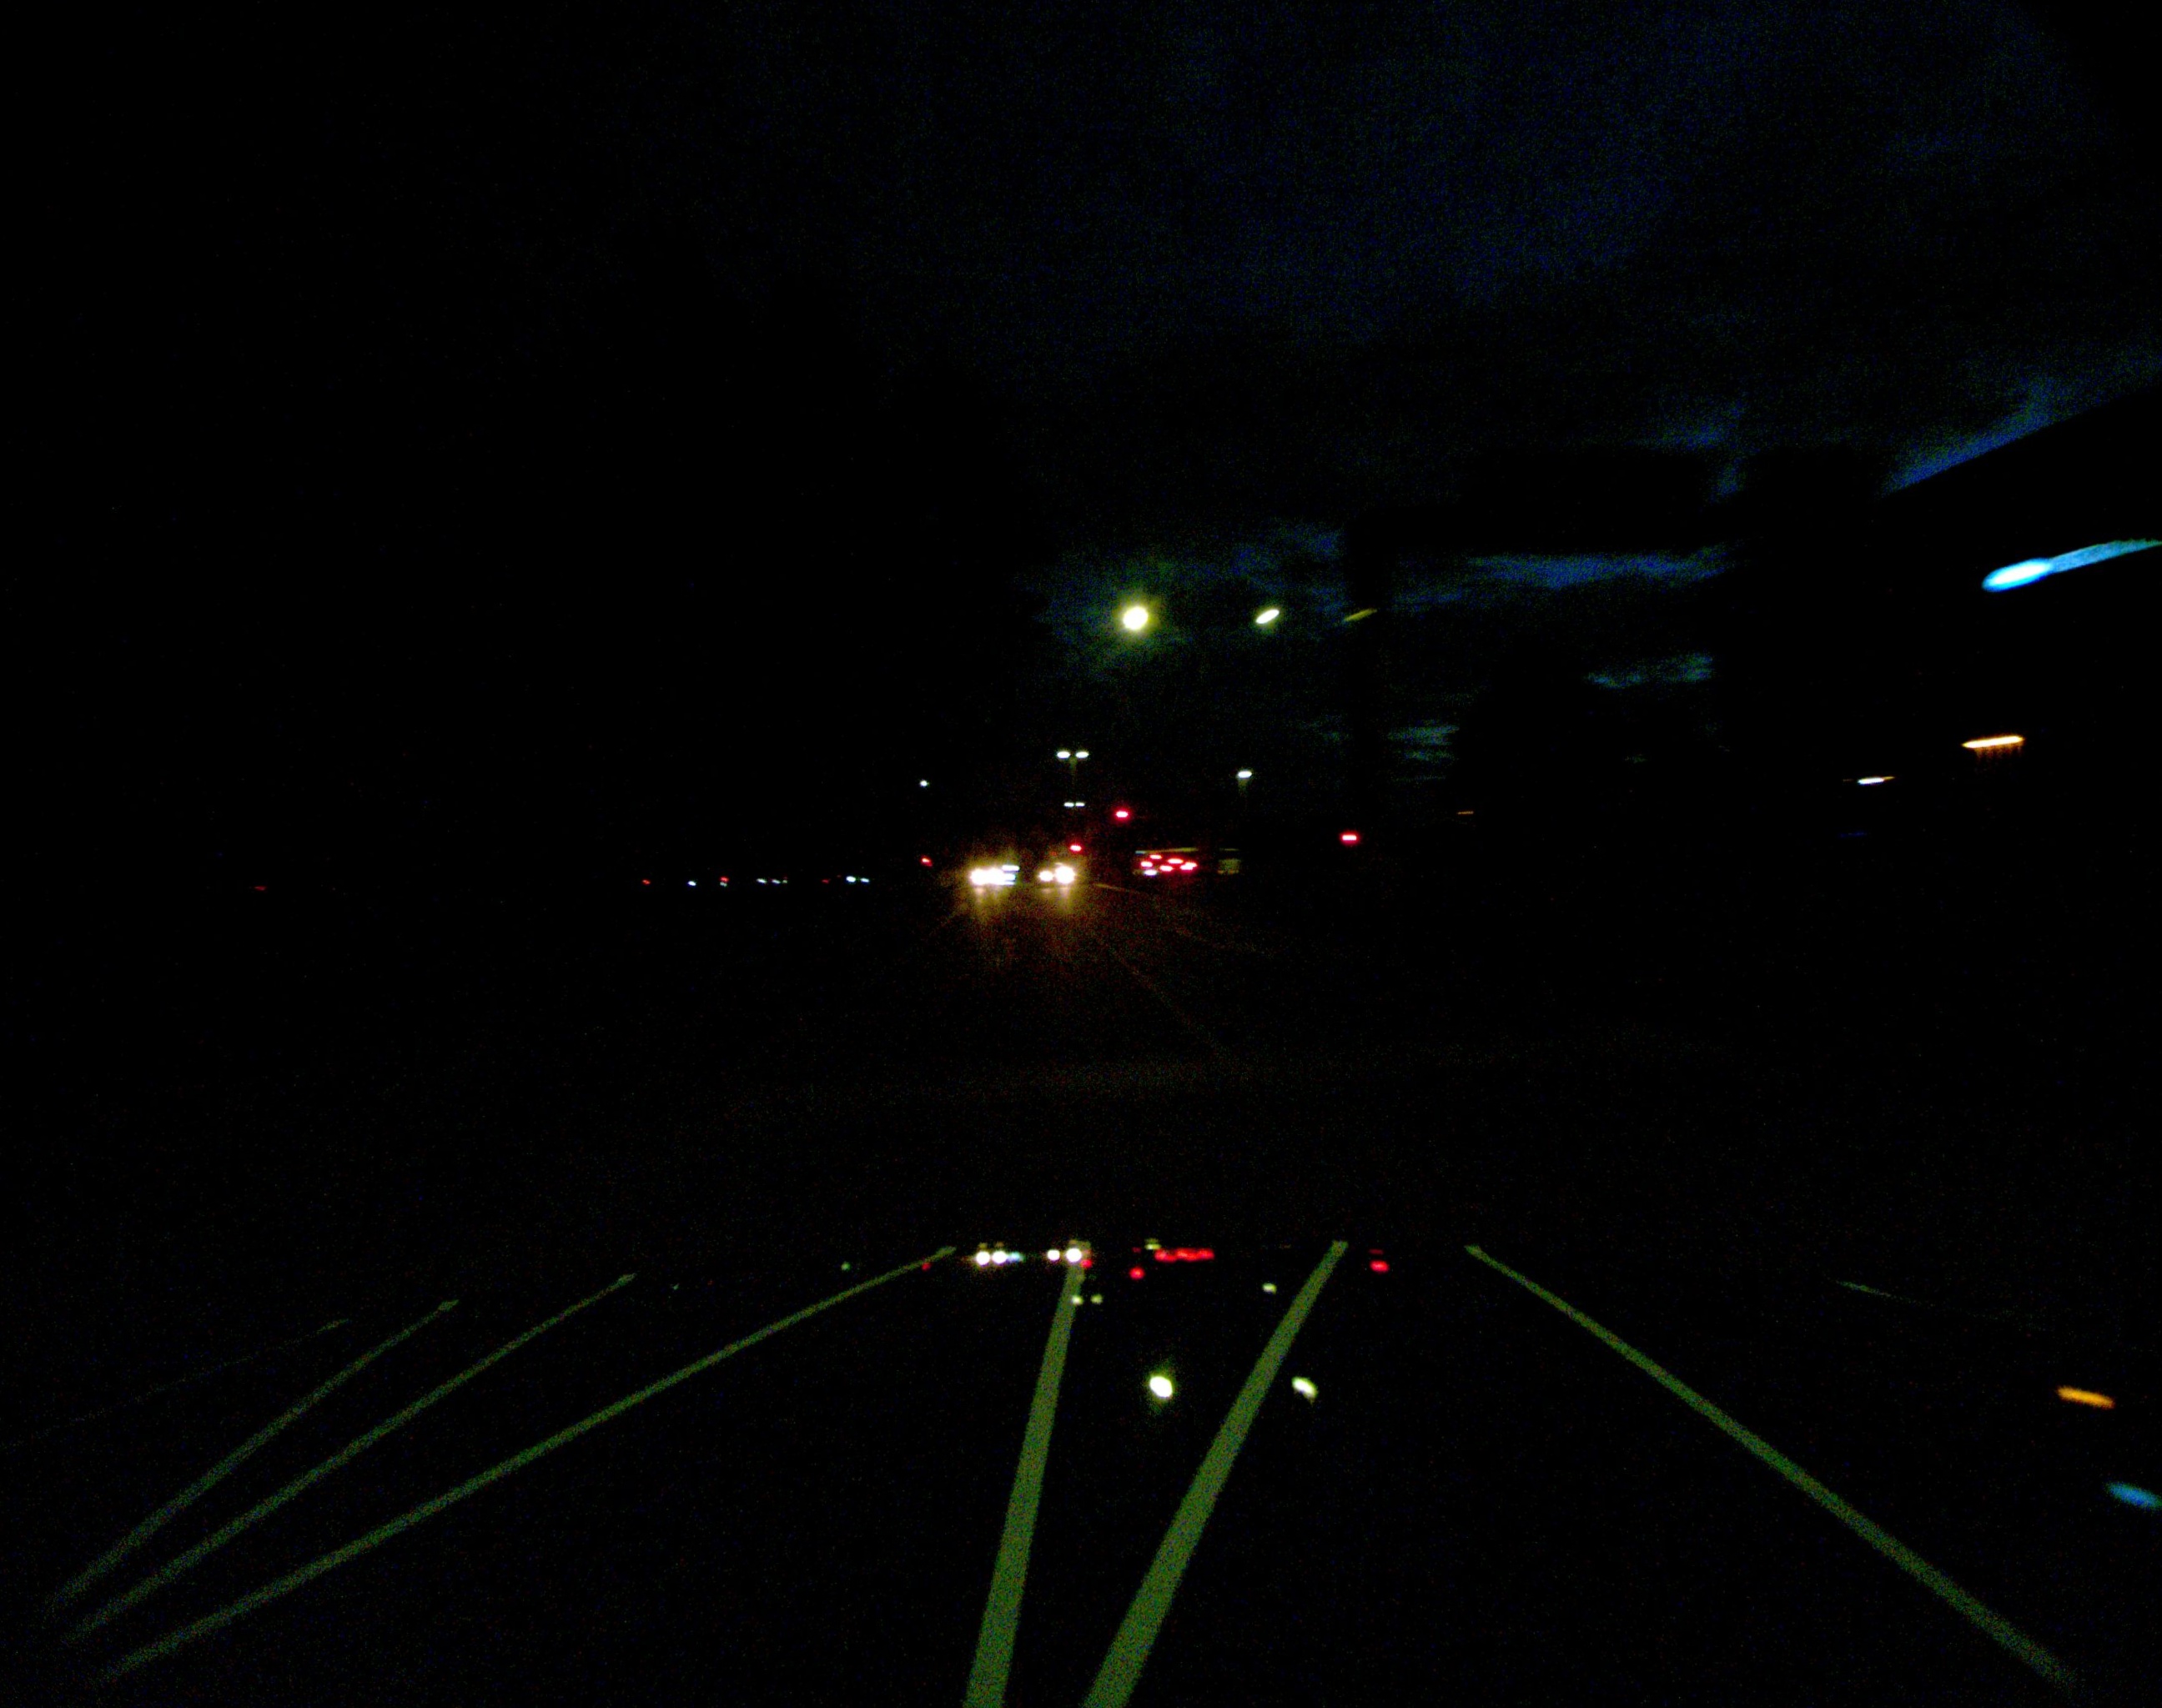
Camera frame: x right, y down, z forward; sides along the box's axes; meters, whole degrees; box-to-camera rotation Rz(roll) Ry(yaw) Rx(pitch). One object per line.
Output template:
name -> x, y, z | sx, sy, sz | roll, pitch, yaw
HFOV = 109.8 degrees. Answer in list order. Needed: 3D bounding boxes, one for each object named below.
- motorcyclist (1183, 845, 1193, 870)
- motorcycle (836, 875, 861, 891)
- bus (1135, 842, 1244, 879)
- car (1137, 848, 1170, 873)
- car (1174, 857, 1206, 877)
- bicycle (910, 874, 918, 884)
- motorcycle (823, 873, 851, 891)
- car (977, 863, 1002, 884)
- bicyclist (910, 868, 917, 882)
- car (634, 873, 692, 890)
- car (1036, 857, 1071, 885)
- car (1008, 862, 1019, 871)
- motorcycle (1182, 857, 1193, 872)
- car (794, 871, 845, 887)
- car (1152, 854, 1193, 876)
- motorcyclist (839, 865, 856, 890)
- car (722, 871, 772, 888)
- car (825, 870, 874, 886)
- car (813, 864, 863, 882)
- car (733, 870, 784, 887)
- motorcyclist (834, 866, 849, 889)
motorcyclist -> 8.915, 0.291, 63.411 | 0.636, 2.001, 0.768 | -2, -1, 1
motorcycle -> -17.969, 2.212, 58.742 | 1.579, 1.028, 0.721 | -6, 4, -32
bus -> 12.687, 0.762, 89.361 | 12.273, 3.766, 2.615 | -2, -2, -7
car -> 5.781, 0.552, 60.806 | 1.849, 1.803, 4.774 | -2, -2, -3
car -> 8.509, 1.024, 59.550 | 1.774, 1.438, 3.780 | -2, -2, -3
bicycle -> -18.997, 2.833, 86.221 | 0.695, 1.094, 2.067 | -2, -2, -8
motorcycle -> -18.986, 2.169, 59.179 | 1.824, 1.175, 0.847 | -5, 4, -38
car -> -6.710, 1.398, 55.643 | 1.671, 1.472, 3.773 | -2, 0, -8
bicyclist -> -18.950, 2.382, 86.071 | 0.604, 1.641, 1.000 | -2, -1, -8
car -> -39.571, 2.589, 72.049 | 4.395, 1.381, 1.837 | -2, -1, -3
car -> -1.780, 1.063, 48.021 | 1.671, 1.643, 4.408 | -3, -1, -8
car -> -13.310, 2.527, 150.176 | 1.698, 1.586, 3.926 | -2, -2, -1
motorcycle -> 8.923, 0.866, 63.452 | 0.672, 1.156, 1.809 | -2, -2, 1
car -> -25.101, 2.380, 73.111 | 4.288, 1.437, 1.787 | -1, -2, -1
car -> 6.367, 0.799, 53.210 | 1.876, 1.389, 4.837 | -2, -1, -5
motorcyclist -> -18.053, 1.818, 58.754 | 0.871, 1.799, 0.914 | -6, 5, -32
car -> -31.967, 2.464, 72.768 | 3.998, 1.515, 1.837 | -1, -1, -3
car -> -24.454, 2.536, 80.223 | 4.583, 1.623, 1.858 | -1, -2, -2
car -> -24.538, 1.930, 76.817 | 4.417, 1.672, 1.915 | -1, -2, -2
car -> -32.395, 2.453, 76.402 | 4.360, 1.616, 1.751 | -1, -2, -2
motorcyclist -> -18.727, 1.823, 59.376 | 0.791, 1.750, 0.682 | -6, 4, -38
